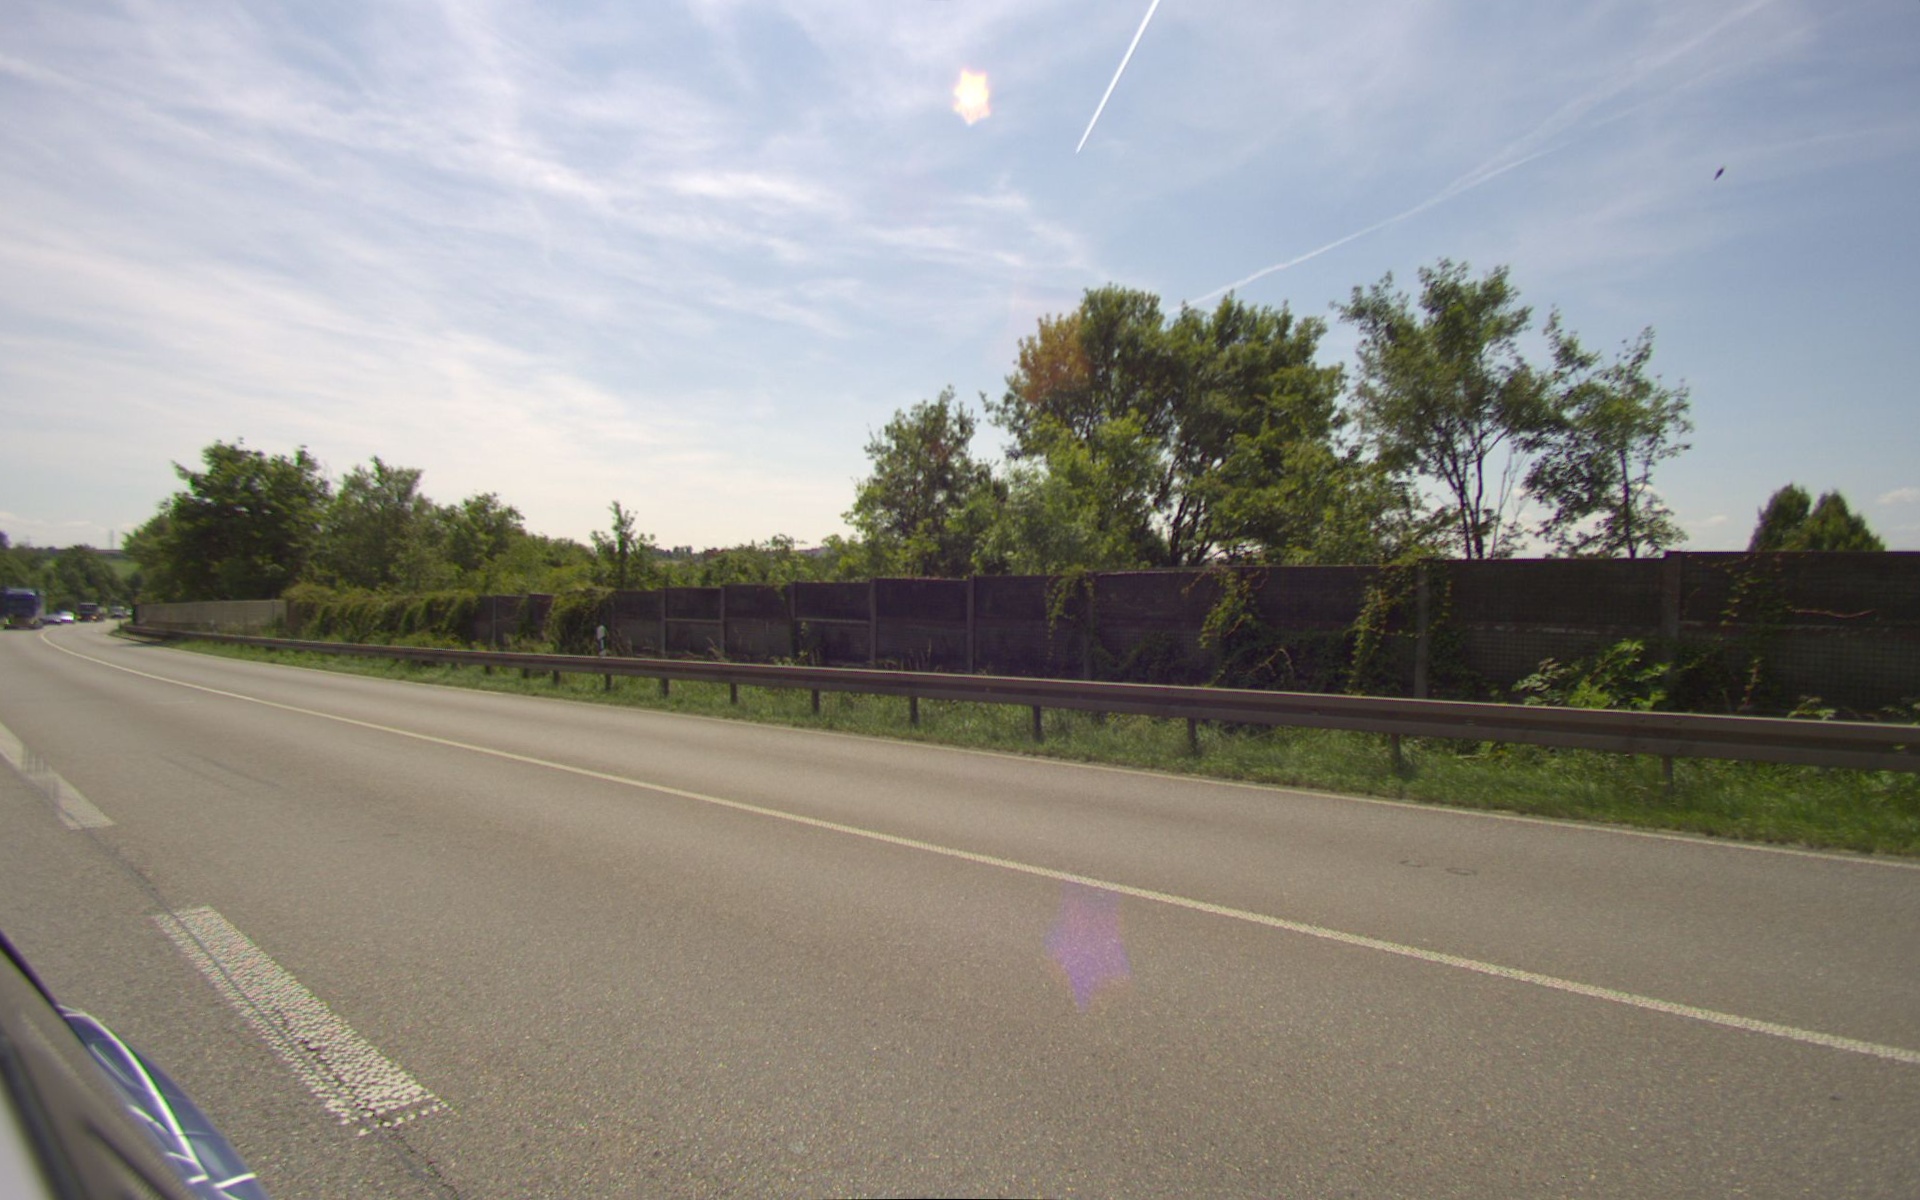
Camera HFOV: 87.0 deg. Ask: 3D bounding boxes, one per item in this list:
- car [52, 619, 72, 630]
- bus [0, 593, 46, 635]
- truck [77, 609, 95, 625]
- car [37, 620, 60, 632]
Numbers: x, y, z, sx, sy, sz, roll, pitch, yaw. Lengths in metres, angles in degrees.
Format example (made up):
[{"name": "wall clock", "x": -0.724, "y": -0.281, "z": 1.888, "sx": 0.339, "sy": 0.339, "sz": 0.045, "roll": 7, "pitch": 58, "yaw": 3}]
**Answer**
[{"name": "car", "x": -133.447, "y": 3.630, "z": 150.367, "sx": 1.968, "sy": 1.658, "sz": 4.008, "roll": 1, "pitch": -1, "yaw": -38}, {"name": "bus", "x": -95.707, "y": 1.466, "z": 103.009, "sx": 3.300, "sy": 4.100, "sz": 10.532, "roll": 1, "pitch": -1, "yaw": -39}, {"name": "truck", "x": -146.860, "y": 2.856, "z": 170.060, "sx": 1.968, "sy": 2.619, "sz": 5.831, "roll": 0, "pitch": -1, "yaw": -38}, {"name": "car", "x": -120.706, "y": 3.429, "z": 134.069, "sx": 1.968, "sy": 1.654, "sz": 4.008, "roll": 1, "pitch": -2, "yaw": -38}]
